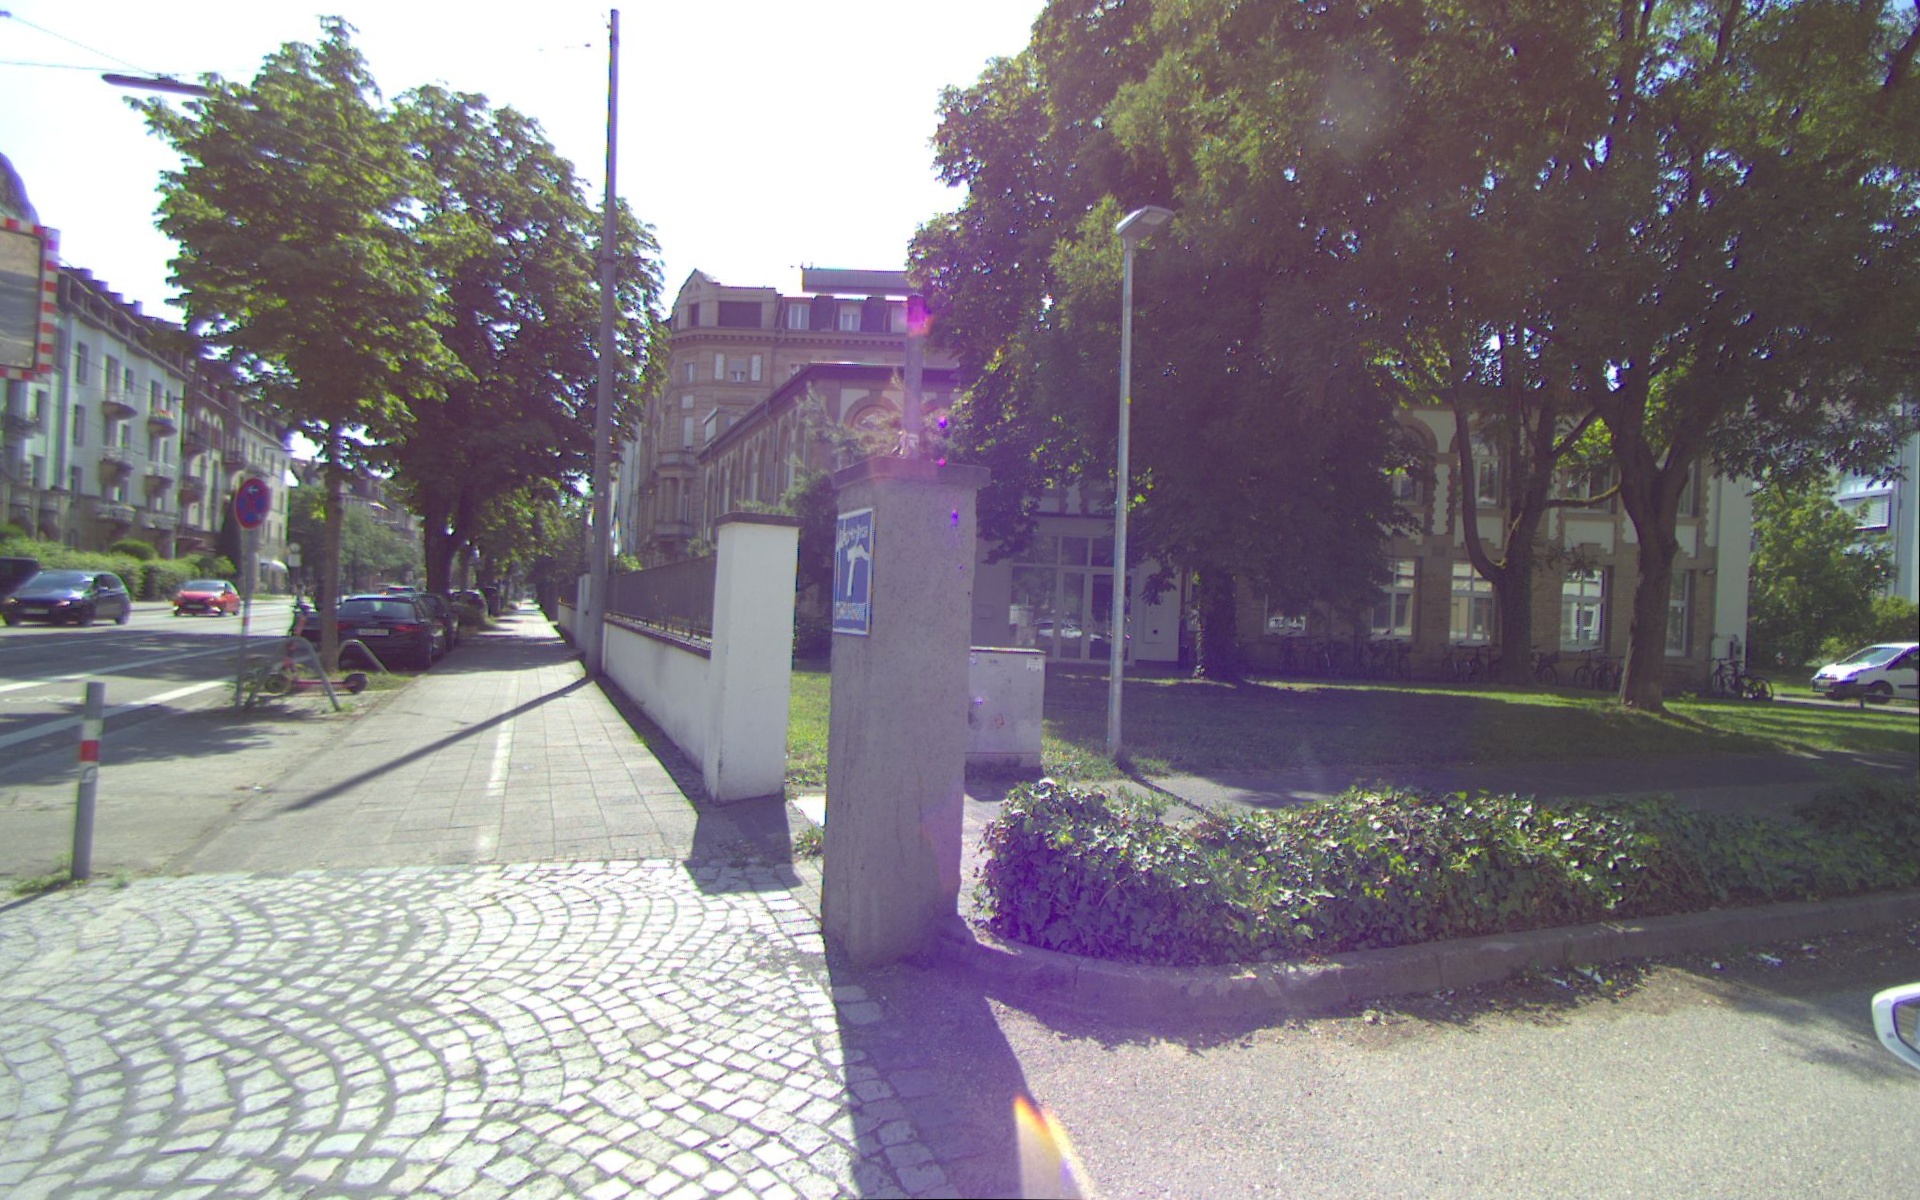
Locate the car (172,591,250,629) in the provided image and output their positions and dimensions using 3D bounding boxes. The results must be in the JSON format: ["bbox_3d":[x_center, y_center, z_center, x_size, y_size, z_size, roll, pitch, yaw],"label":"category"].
[{"bbox_3d":[-30.427,0.390,40.923,1.640,1.431,4.149,2,0,-25],"label":"car"}]

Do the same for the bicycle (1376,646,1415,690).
[{"bbox_3d":[11.152,1.725,25.740,0.437,1.005,1.542,2,0,5],"label":"bicycle"}]

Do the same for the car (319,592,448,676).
[{"bbox_3d":[-11.438,0.617,20.170,1.709,1.496,3.978,2,0,-23],"label":"car"}]

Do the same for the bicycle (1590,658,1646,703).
[{"bbox_3d":[16.588,2.006,25.356,0.437,1.005,1.686,2,0,7],"label":"bicycle"}]

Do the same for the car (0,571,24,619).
[{"bbox_3d":[-34.713,-0.241,33.999,1.795,1.684,3.998,2,-1,24],"label":"car"}]

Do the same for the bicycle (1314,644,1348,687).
[{"bbox_3d":[9.526,1.664,25.826,0.437,1.005,1.542,2,0,7],"label":"bicycle"}]

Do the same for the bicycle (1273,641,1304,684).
[{"bbox_3d":[8.437,1.582,25.834,0.437,1.005,1.542,2,0,7],"label":"bicycle"}]

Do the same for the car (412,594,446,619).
[{"bbox_3d":[-42.185,0.491,79.882,1.972,1.854,4.443,3,-1,-23],"label":"car"}]

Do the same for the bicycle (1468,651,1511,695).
[{"bbox_3d":[13.485,1.851,25.623,0.437,1.005,1.542,2,0,7],"label":"bicycle"}]

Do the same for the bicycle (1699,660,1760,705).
[{"bbox_3d":[19.373,2.058,25.328,0.437,1.005,1.631,2,0,7],"label":"bicycle"}]

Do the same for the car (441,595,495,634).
[{"bbox_3d":[-22.707,0.637,46.472,1.802,1.684,3.980,2,-1,-21],"label":"car"}]

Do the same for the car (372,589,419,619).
[{"bbox_3d":[-34.367,0.250,61.246,1.802,1.684,3.980,2,-1,-21],"label":"car"}]

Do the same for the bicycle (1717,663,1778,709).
[{"bbox_3d":[19.851,2.151,25.348,0.437,1.005,1.542,2,0,7],"label":"bicycle"}]

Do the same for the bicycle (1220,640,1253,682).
[{"bbox_3d":[7.151,1.568,25.978,0.437,1.005,1.542,3,-1,3],"label":"bicycle"}]

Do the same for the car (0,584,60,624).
[{"bbox_3d":[-35.922,0.107,36.811,1.750,1.436,3.999,2,-1,22],"label":"car"}]

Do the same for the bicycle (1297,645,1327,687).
[{"bbox_3d":[9.052,1.682,25.856,0.367,1.002,1.601,2,-1,7],"label":"bicycle"}]

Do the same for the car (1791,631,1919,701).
[{"bbox_3d":[28.883,2.062,30.782,4.939,1.958,2.001,3,-1,5],"label":"car"}]

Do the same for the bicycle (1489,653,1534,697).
[{"bbox_3d":[14.025,1.892,25.585,0.437,1.005,1.542,2,0,7],"label":"bicycle"}]

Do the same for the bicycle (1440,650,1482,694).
[{"bbox_3d":[12.746,1.810,25.591,0.437,1.005,1.542,2,0,7],"label":"bicycle"}]

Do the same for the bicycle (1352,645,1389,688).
[{"bbox_3d":[10.484,1.680,25.685,0.437,1.005,1.542,2,0,7],"label":"bicycle"}]

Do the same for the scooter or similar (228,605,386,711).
[{"bbox_3d":[-7.707,0.688,11.908,1.458,1.201,0.492,2,0,-15],"label":"scooter or similar"}]

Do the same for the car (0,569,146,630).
[{"bbox_3d":[-25.030,-0.015,28.425,1.916,1.542,4.365,2,0,-23],"label":"car"}]

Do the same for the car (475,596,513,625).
[{"bbox_3d":[-28.943,0.652,62.520,1.802,1.684,3.980,2,-1,-21],"label":"car"}]

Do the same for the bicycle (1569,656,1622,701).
[{"bbox_3d":[16.052,1.958,25.400,0.437,1.005,1.667,2,0,7],"label":"bicycle"}]

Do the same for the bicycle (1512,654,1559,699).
[{"bbox_3d":[14.613,1.927,25.543,0.437,1.005,1.542,2,0,7],"label":"bicycle"}]

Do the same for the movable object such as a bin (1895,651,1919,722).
[{"bbox_3d":[20.437,1.825,20.621,1.223,1.450,1.350,2,-1,4],"label":"movable object such as a bin"}]
